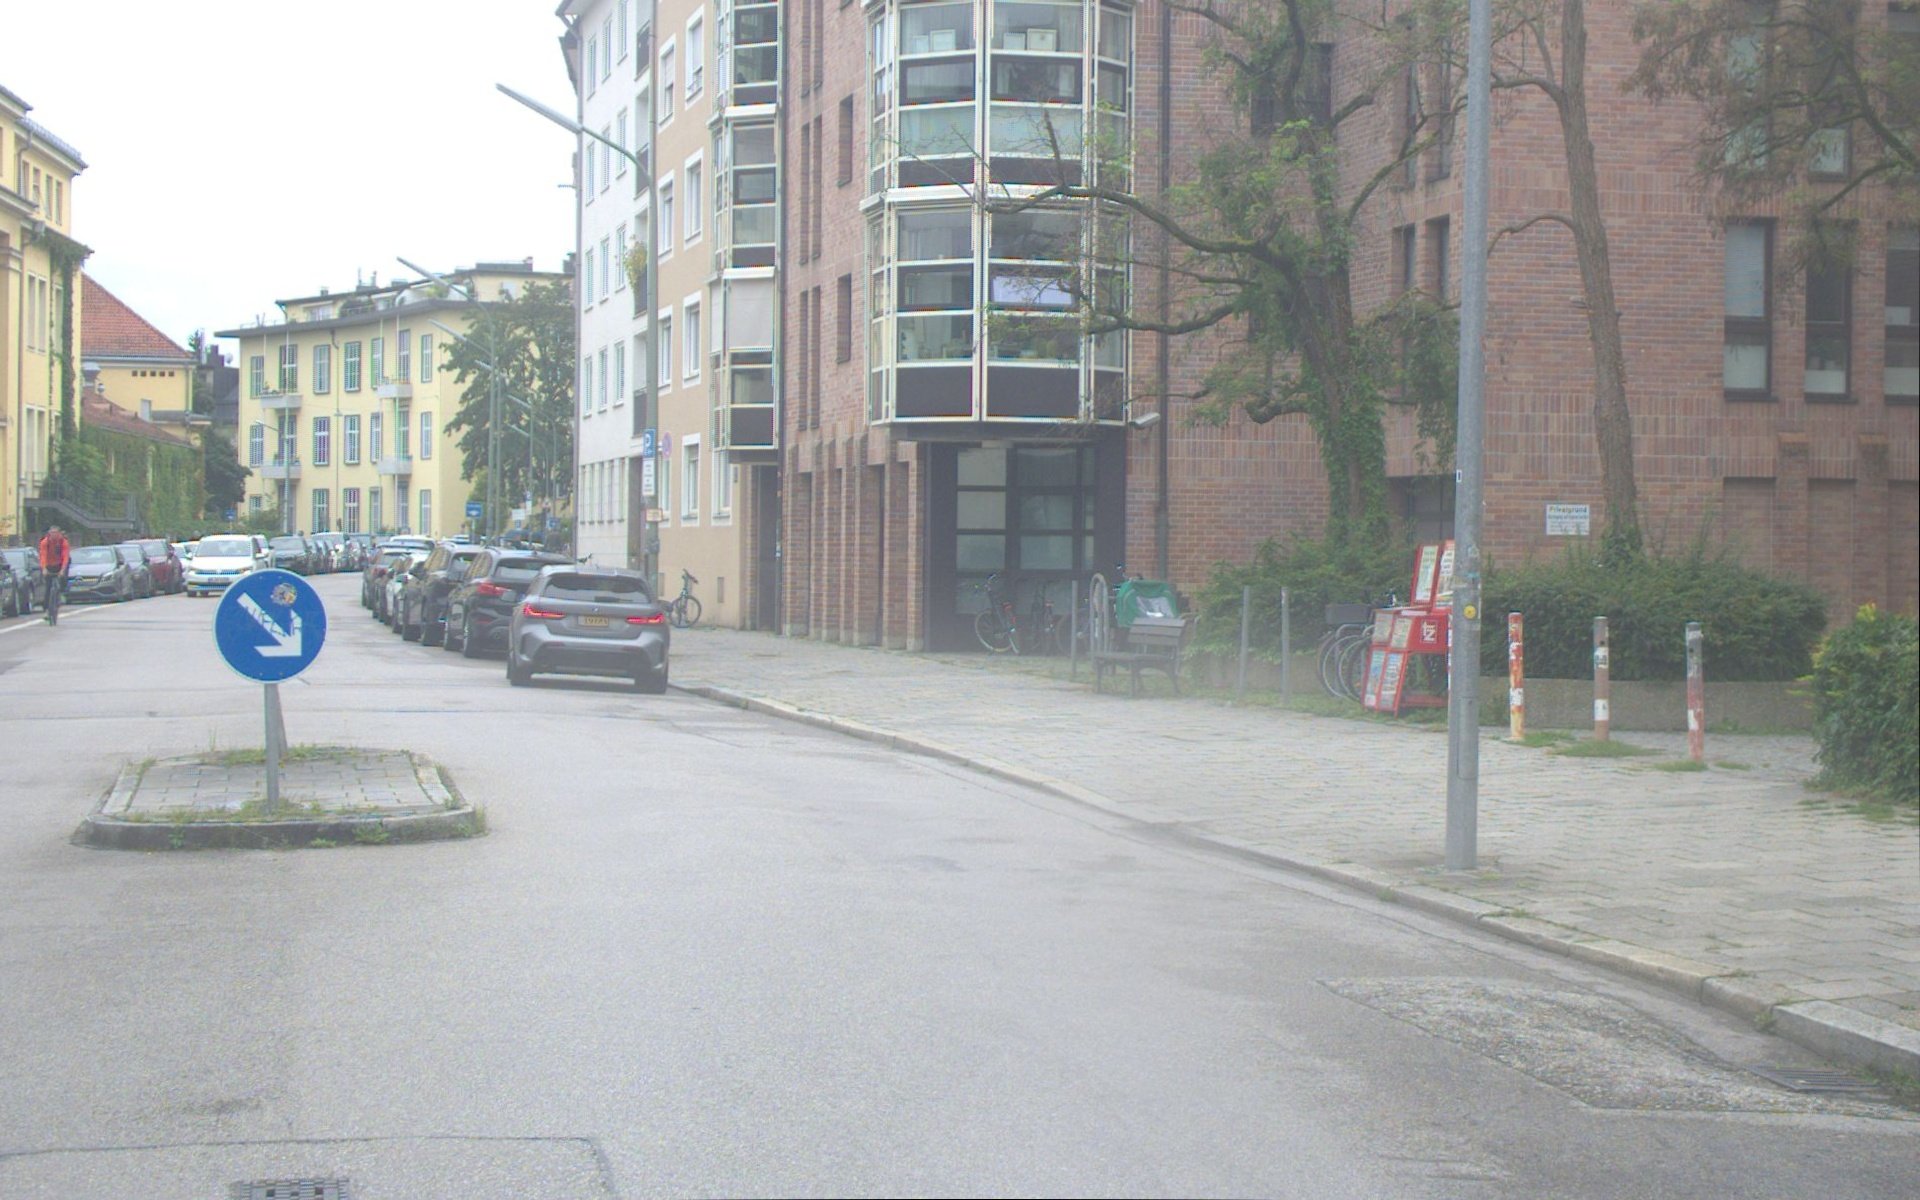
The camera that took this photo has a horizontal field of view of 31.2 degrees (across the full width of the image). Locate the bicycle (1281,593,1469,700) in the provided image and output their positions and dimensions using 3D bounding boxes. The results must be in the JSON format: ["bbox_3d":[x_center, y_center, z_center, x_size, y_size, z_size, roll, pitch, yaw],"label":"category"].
[{"bbox_3d":[4.074,0.457,33.759,1.700,0.962,0.546,2,2,-10],"label":"bicycle"}]

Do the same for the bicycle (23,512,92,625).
[{"bbox_3d":[-16.815,-0.610,64.097,0.748,2.006,2.848,-1,2,-5],"label":"bicycle"}]

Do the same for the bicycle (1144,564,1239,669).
[{"bbox_3d":[2.673,0.185,39.646,0.421,1.169,1.359,4,2,33],"label":"bicycle"}]

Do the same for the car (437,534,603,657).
[{"bbox_3d":[-6.556,-0.097,50.845,1.829,1.596,4.268,2,2,-15],"label":"car"}]

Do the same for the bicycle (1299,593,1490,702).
[{"bbox_3d":[4.186,0.459,33.143,1.700,0.962,0.546,2,2,-10],"label":"bicycle"}]

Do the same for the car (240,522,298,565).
[{"bbox_3d":[-27.410,-2.241,136.464,1.993,1.543,4.001,2,2,-8],"label":"car"}]

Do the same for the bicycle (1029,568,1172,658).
[{"bbox_3d":[1.918,0.177,47.032,1.848,1.143,0.488,2,1,-5],"label":"bicycle"}]

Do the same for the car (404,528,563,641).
[{"bbox_3d":[-7.780,-0.281,55.785,1.963,1.596,4.673,2,2,-15],"label":"car"}]

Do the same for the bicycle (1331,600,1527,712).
[{"bbox_3d":[4.403,0.522,32.292,1.700,0.962,0.546,2,2,-10],"label":"bicycle"}]

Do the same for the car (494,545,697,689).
[{"bbox_3d":[-4.342,0.157,40.377,1.924,1.507,4.393,2,1,-11],"label":"car"}]

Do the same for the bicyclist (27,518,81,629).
[{"bbox_3d":[-16.849,-0.497,63.970,0.766,2.006,0.768,-3,2,-6],"label":"bicyclist"}]

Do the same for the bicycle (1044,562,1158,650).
[{"bbox_3d":[1.947,0.078,47.486,1.476,1.143,0.383,2,1,-5],"label":"bicycle"}]

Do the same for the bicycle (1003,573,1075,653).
[{"bbox_3d":[1.106,0.168,48.610,0.486,1.056,1.996,2,1,-14],"label":"bicycle"}]

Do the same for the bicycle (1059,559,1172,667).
[{"bbox_3d":[1.852,0.144,41.249,0.534,1.244,2.414,2,0,-17],"label":"bicycle"}]

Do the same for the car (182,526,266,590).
[{"bbox_3d":[-19.701,-1.103,92.171,2.025,1.616,4.506,-1,0,-10],"label":"car"}]

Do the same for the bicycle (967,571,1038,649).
[{"bbox_3d":[0.590,0.128,48.494,0.486,1.056,1.996,2,0,-14],"label":"bicycle"}]

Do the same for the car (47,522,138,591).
[{"bbox_3d":[-21.394,-1.090,84.872,1.772,1.545,3.779,2,2,-9],"label":"car"}]
